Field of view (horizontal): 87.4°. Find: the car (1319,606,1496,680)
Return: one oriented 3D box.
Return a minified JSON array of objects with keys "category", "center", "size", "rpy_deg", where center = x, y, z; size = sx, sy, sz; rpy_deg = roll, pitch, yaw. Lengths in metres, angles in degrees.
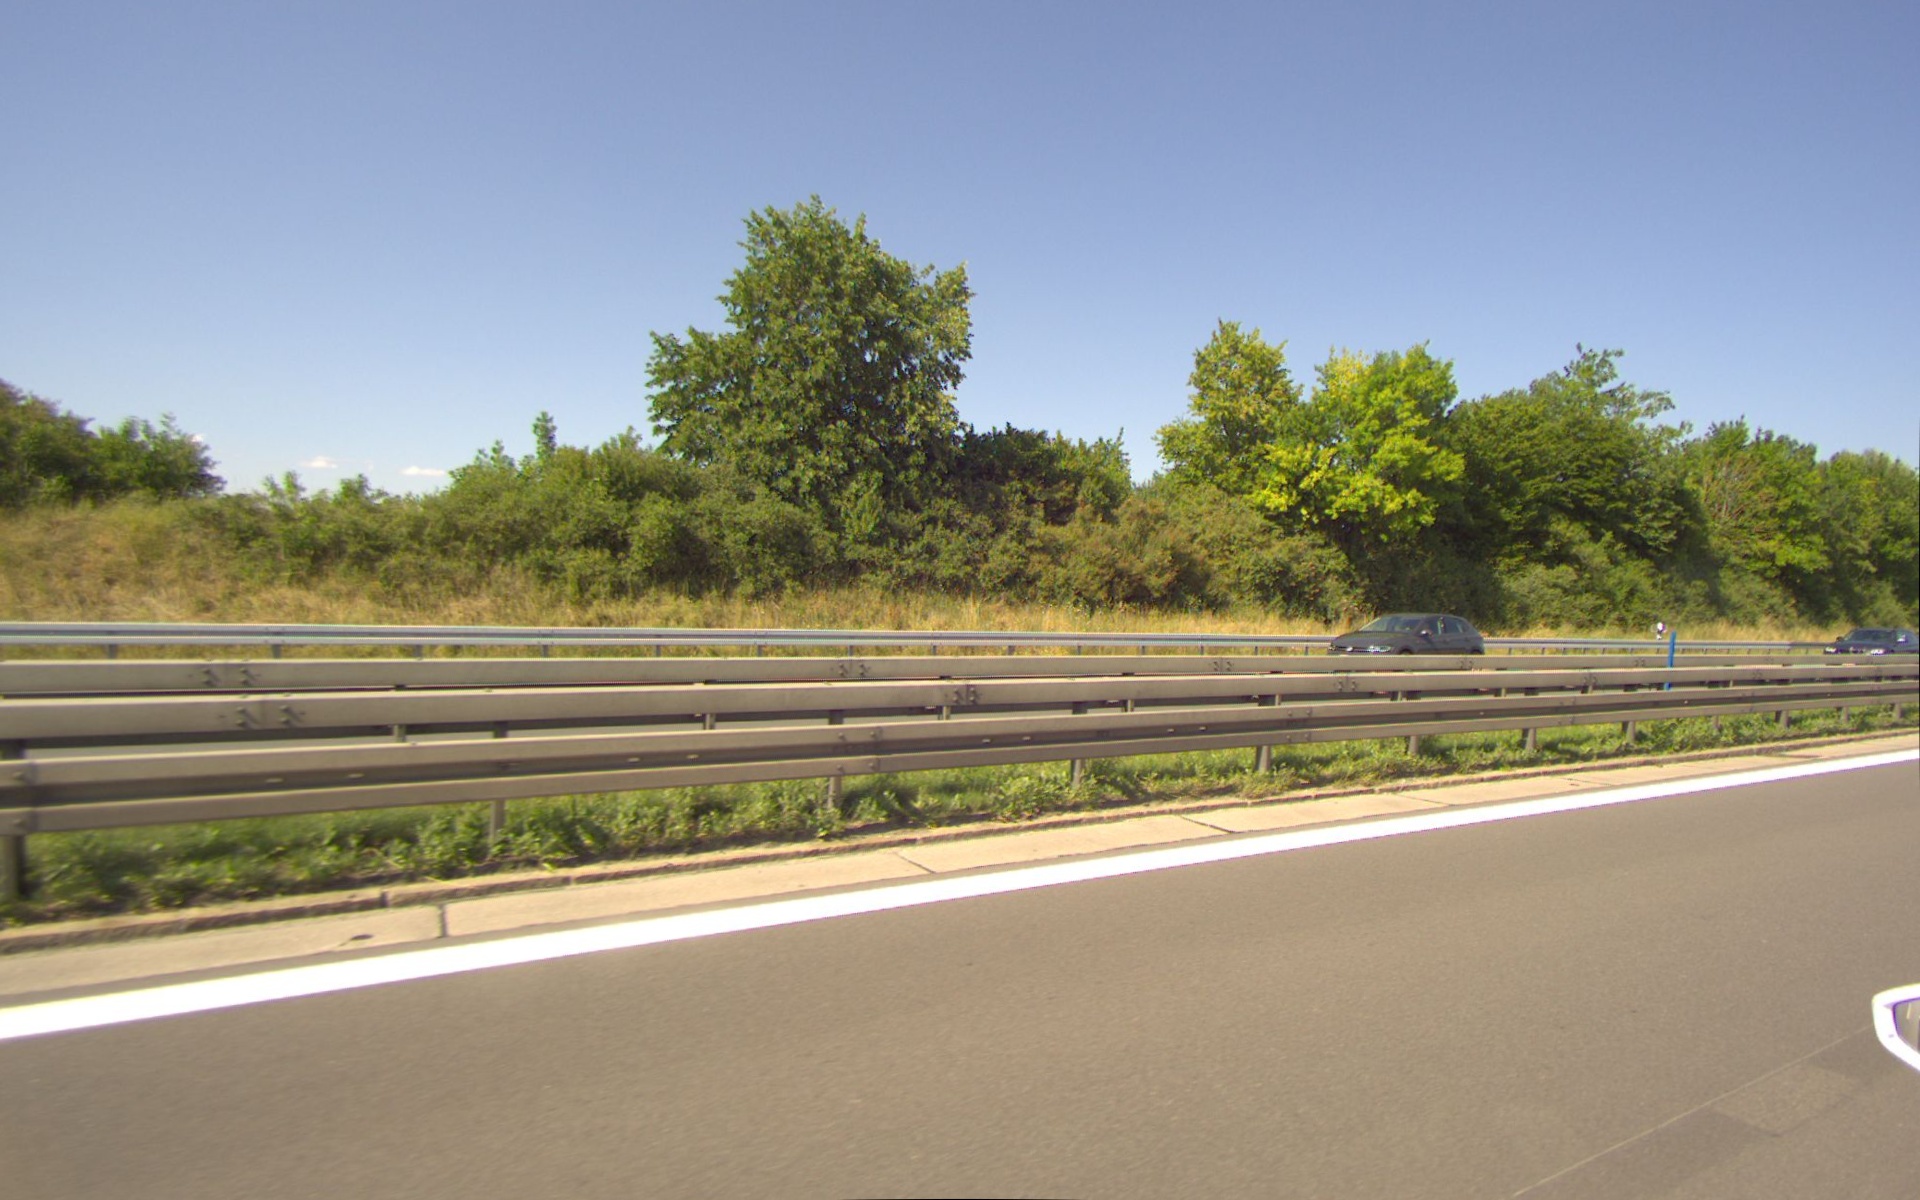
[{"category":"car","center":[10.007,0.940,22.375],"size":[4.107,1.481,1.569],"rpy_deg":[2,1,-32]}]

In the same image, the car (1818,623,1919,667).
[{"category":"car","center":[32.421,1.601,35.784],"size":[3.955,1.441,1.653],"rpy_deg":[2,0,-31]}]
